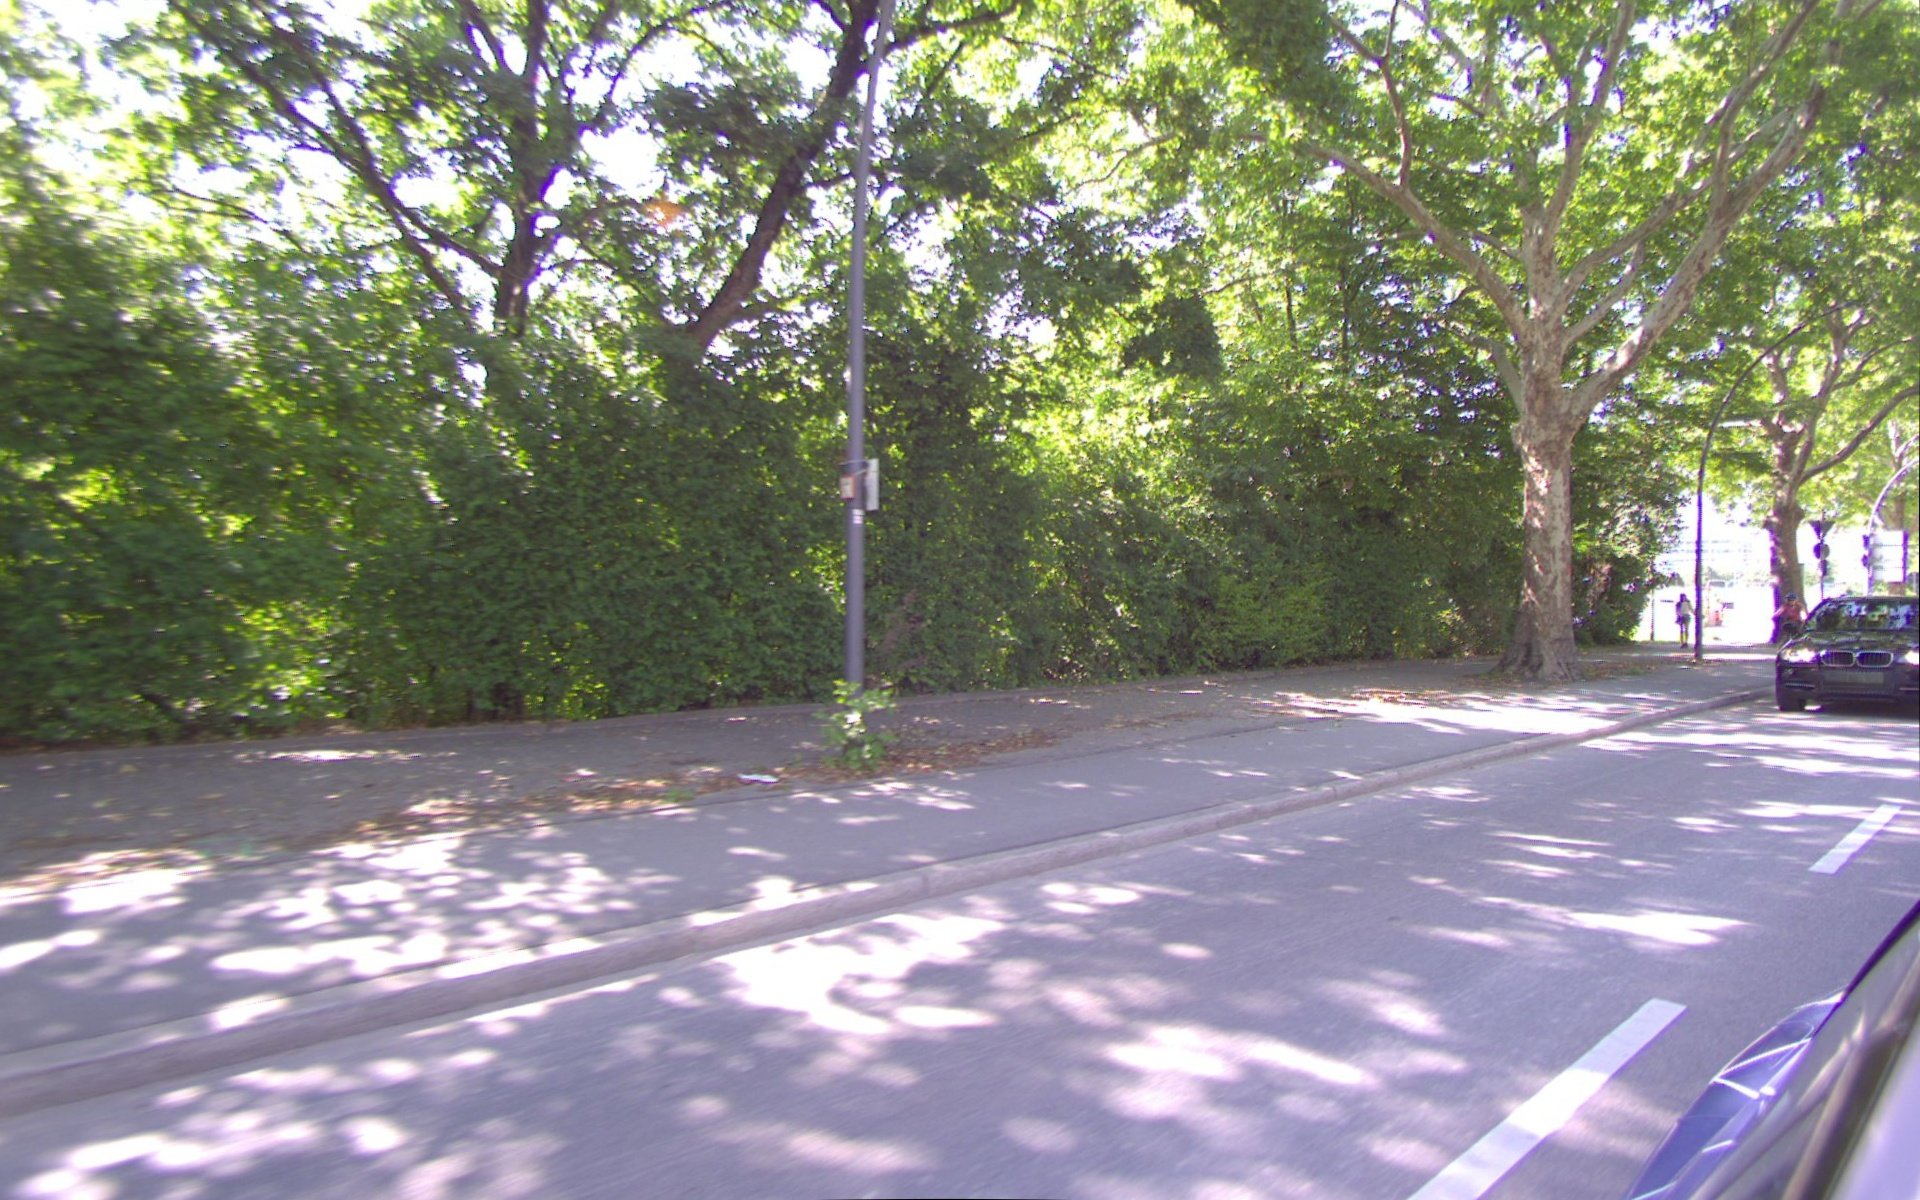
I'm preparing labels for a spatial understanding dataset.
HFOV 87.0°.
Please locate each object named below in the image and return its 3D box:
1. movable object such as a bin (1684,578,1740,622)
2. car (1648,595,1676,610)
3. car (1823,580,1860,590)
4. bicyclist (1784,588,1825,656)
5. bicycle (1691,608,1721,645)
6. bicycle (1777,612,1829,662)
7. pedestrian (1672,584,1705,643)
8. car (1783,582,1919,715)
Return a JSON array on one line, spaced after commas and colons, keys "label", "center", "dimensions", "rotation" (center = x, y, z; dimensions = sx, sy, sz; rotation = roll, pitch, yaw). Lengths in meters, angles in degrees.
[{"label": "movable object such as a bin", "center": [55.379, 0.024, 74.485], "dimensions": [5.885, 3.111, 2.371], "rotation": [1, -1, -43]}, {"label": "car", "center": [128.941, 0.437, 185.803], "dimensions": [1.778, 2.773, 3.991], "rotation": [1, -1, -43]}, {"label": "car", "center": [129.421, -2.183, 148.581], "dimensions": [1.778, 1.529, 3.991], "rotation": [1, -1, -43]}, {"label": "bicyclist", "center": [20.587, 0.531, 24.669], "dimensions": [0.720, 1.620, 0.621], "rotation": [1, 1, -42]}, {"label": "bicycle", "center": [22.956, 0.796, 31.135], "dimensions": [1.669, 1.095, 0.350], "rotation": [0, -1, -41]}, {"label": "bicycle", "center": [20.503, 0.871, 24.601], "dimensions": [1.911, 1.143, 0.652], "rotation": [0, 1, -41]}, {"label": "pedestrian", "center": [22.561, 0.420, 31.341], "dimensions": [0.859, 1.808, 0.633], "rotation": [1, -1, -40]}, {"label": "car", "center": [13.954, 0.649, 15.070], "dimensions": [4.078, 1.752, 1.923], "rotation": [0, -1, -40]}]
